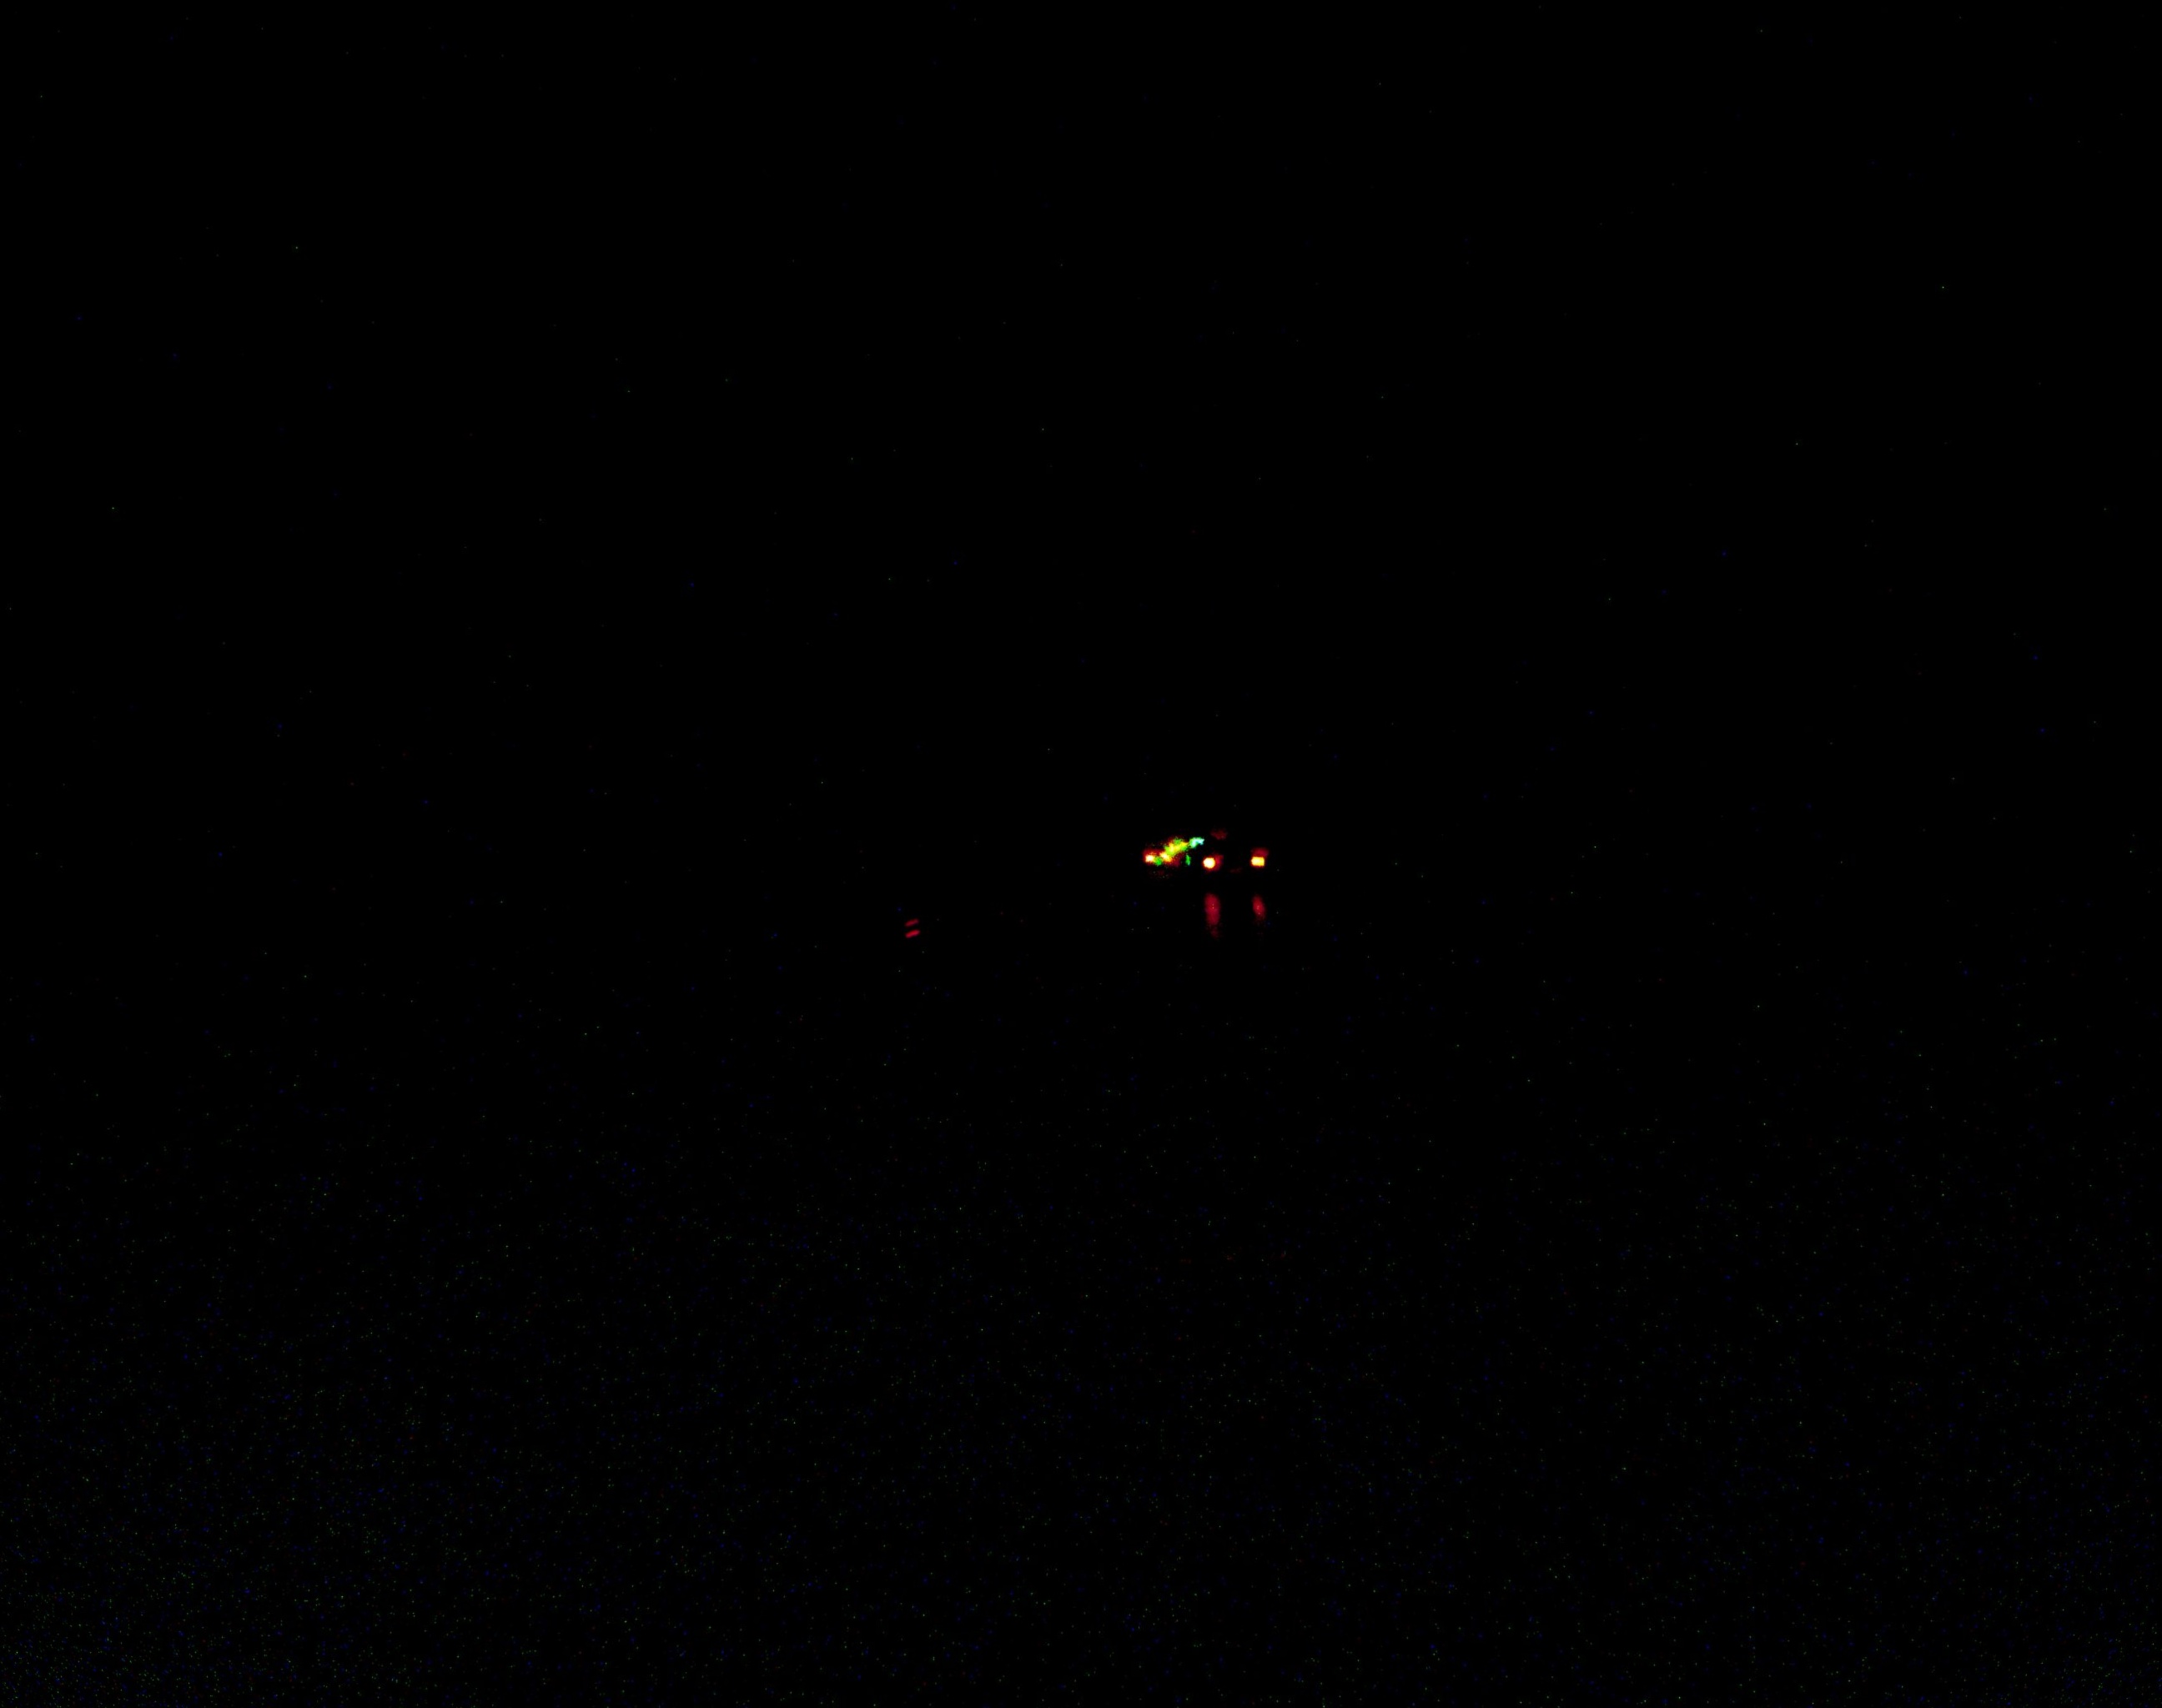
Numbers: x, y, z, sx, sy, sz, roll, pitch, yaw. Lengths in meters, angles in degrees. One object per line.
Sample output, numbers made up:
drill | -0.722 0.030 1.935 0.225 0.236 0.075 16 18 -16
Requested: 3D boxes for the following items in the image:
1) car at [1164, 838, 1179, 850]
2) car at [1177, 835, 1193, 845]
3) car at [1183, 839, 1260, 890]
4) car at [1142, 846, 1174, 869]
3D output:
car | 11.619 -1.312 97.531 1.774 1.381 4.114 -2 2 8
car | 15.781 -2.155 115.248 1.774 1.475 4.384 -1 2 16
car | 5.374 0.334 29.694 1.865 1.737 4.960 -2 2 -2
car | 5.216 0.204 51.940 1.776 1.381 4.034 -2 2 1
